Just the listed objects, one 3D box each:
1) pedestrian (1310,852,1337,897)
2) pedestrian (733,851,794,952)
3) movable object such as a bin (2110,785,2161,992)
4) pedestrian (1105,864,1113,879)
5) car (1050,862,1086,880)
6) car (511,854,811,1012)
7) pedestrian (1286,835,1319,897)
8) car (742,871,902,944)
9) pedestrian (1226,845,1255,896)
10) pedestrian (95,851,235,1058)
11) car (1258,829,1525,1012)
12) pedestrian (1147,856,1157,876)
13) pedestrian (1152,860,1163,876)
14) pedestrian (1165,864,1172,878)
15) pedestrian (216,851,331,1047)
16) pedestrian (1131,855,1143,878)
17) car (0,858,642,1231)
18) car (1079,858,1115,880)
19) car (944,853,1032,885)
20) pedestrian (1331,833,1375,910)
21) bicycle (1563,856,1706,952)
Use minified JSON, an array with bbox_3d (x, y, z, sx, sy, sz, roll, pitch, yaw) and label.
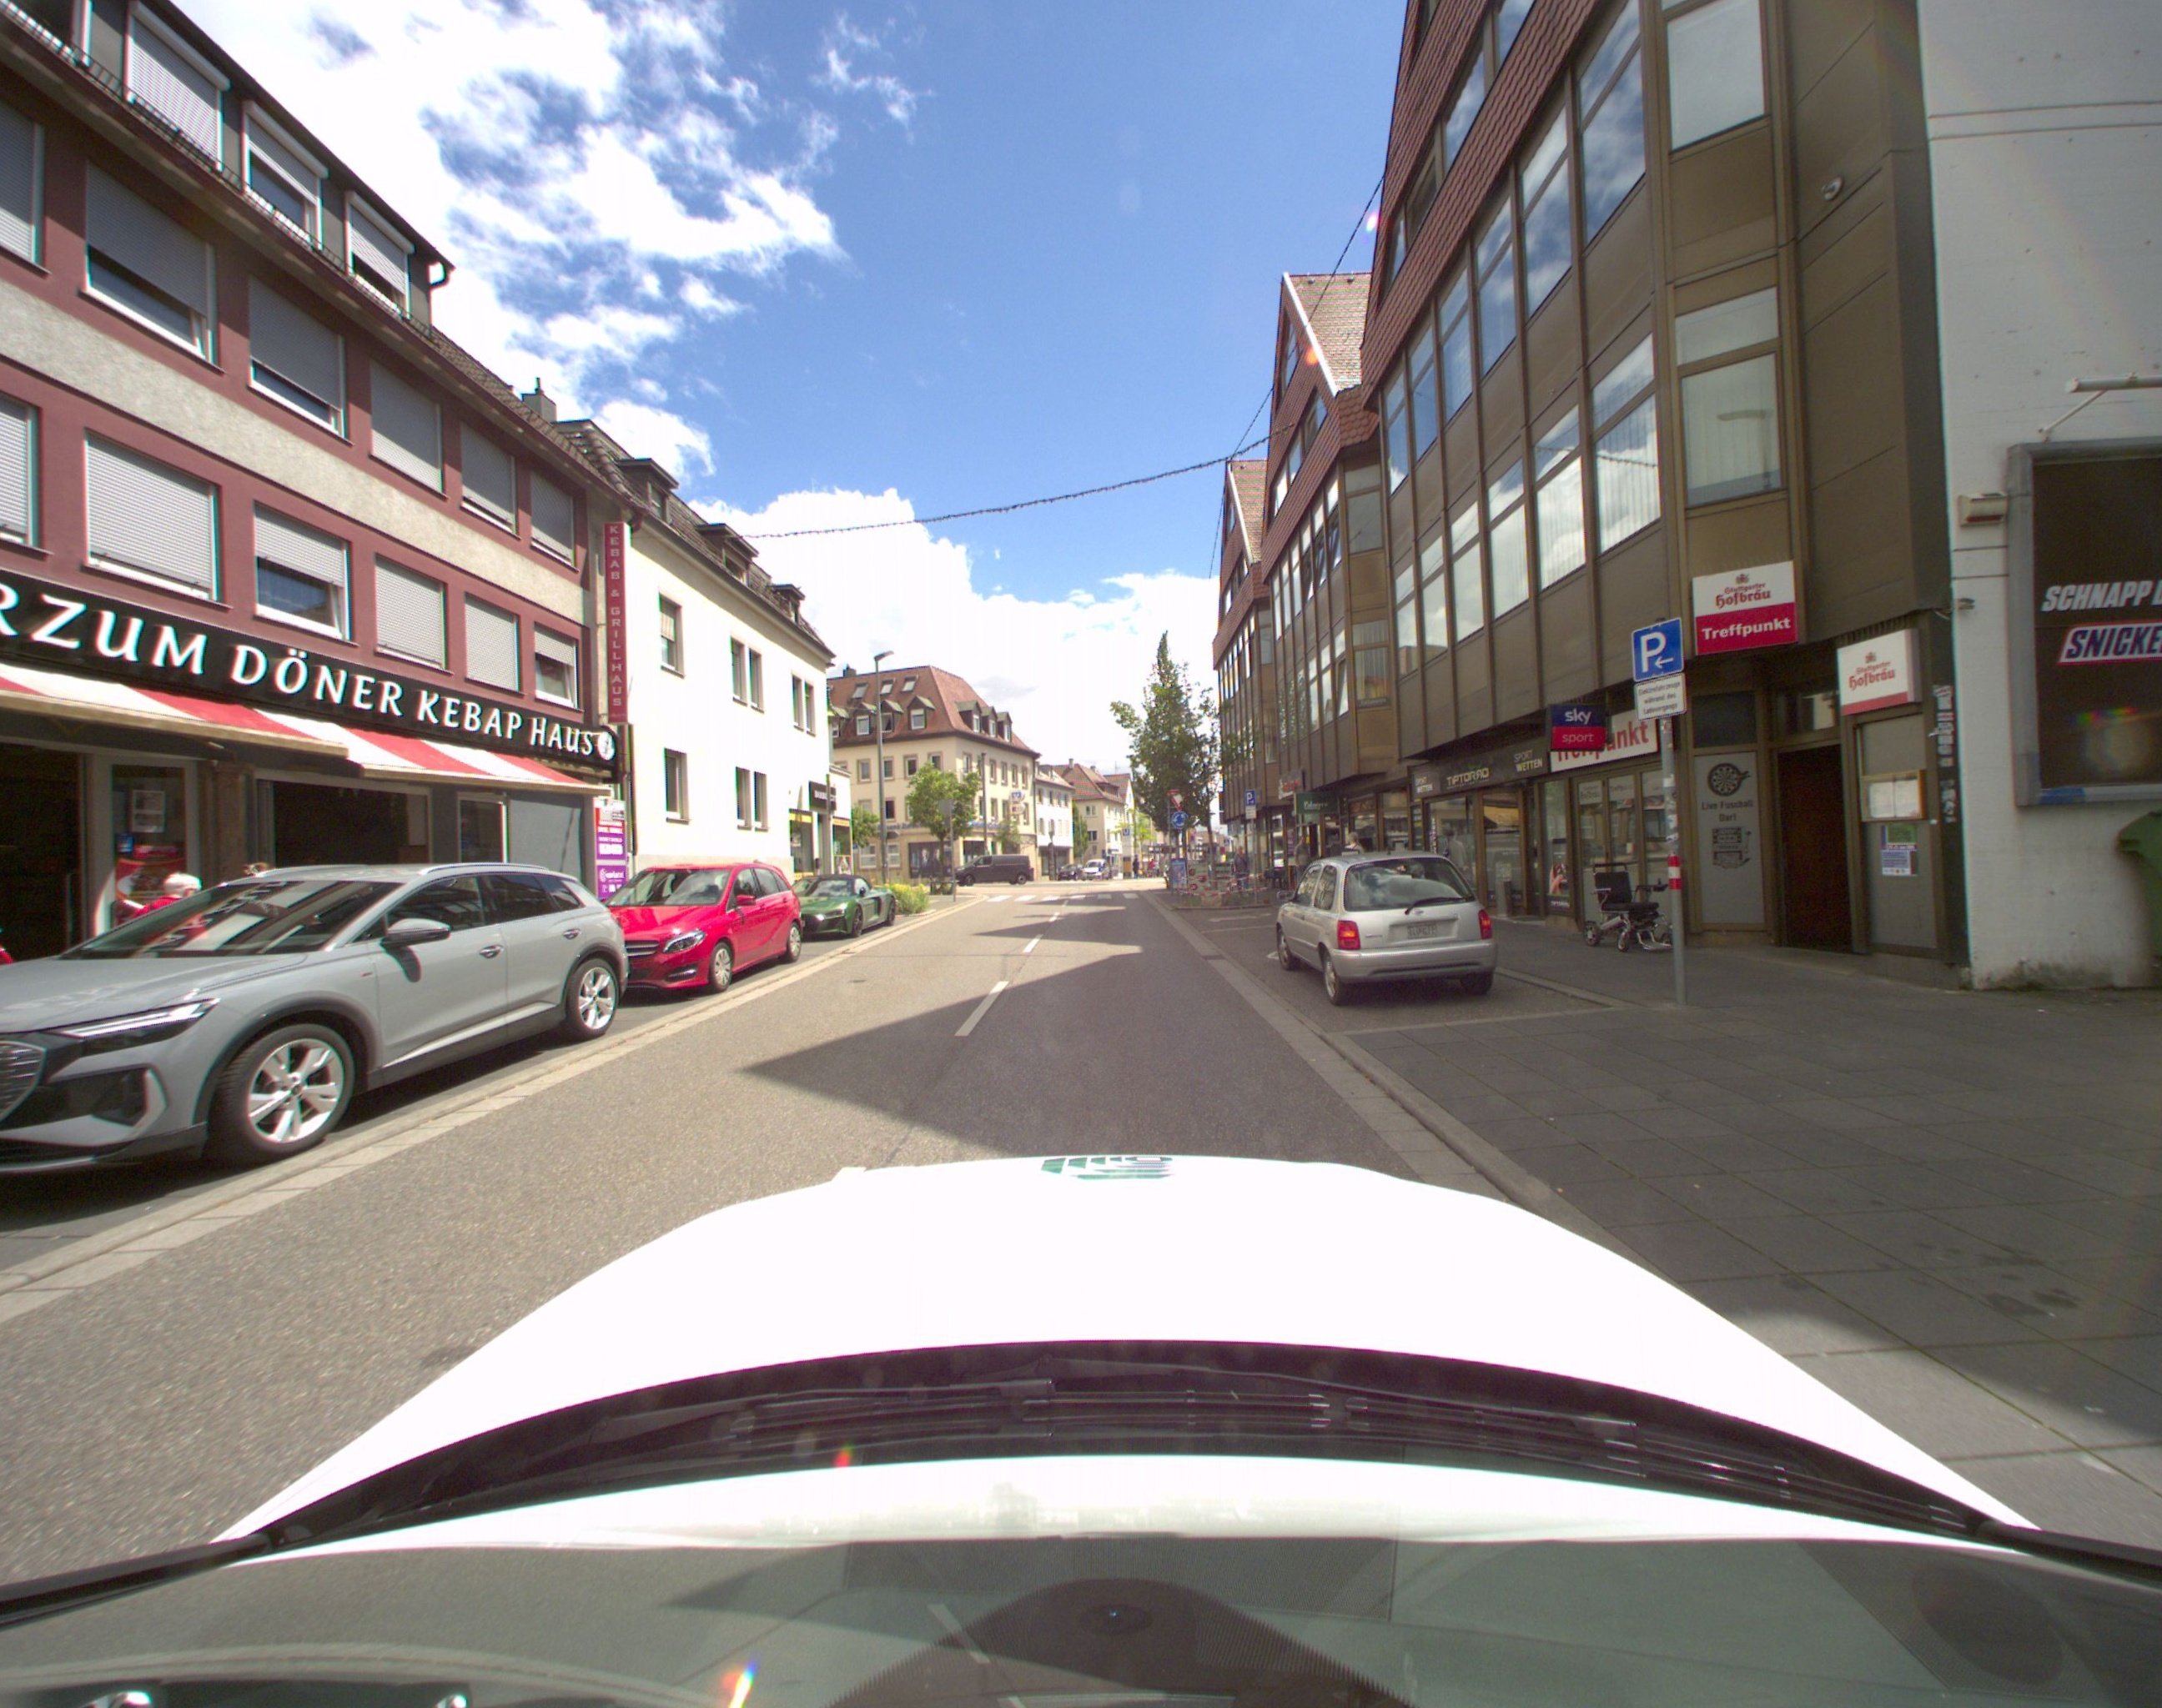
[{"bbox_3d":[6.972,0.585,23.450,0.618,1.253,0.614,-1,-1,4],"label":"pedestrian"},{"bbox_3d":[-5.320,0.783,13.681,0.683,1.648,0.780,-1,-1,3],"label":"pedestrian"},{"bbox_3d":[8.531,0.247,5.763,1.137,1.528,1.033,-1,-1,4],"label":"movable object such as a bin"},{"bbox_3d":[3.122,1.954,90.182,0.694,1.610,0.641,0,-1,-14],"label":"pedestrian"},{"bbox_3d":[-1.074,1.408,68.547,1.979,1.453,4.015,-1,-1,15],"label":"car"},{"bbox_3d":[-5.165,0.843,10.780,1.794,1.604,4.216,-2,0,-1],"label":"car"},{"bbox_3d":[6.634,0.370,24.437,0.734,1.814,0.712,-2,-1,1],"label":"pedestrian"},{"bbox_3d":[-5.232,1.029,17.145,1.812,1.224,4.525,0,0,1],"label":"car"},{"bbox_3d":[5.140,0.527,26.288,0.781,1.615,0.800,-1,-1,1],"label":"pedestrian"},{"bbox_3d":[-7.634,0.808,6.810,0.500,1.648,0.574,-1,-1,0],"label":"pedestrian"},{"bbox_3d":[3.187,0.591,9.179,1.603,1.495,3.797,-5,0,3],"label":"car"},{"bbox_3d":[6.487,1.090,74.335,0.722,1.764,0.751,-1,-1,12],"label":"pedestrian"},{"bbox_3d":[7.586,1.402,80.764,0.720,1.579,0.753,-2,-1,42],"label":"pedestrian"},{"bbox_3d":[8.017,1.573,74.813,0.588,1.316,0.592,-1,-1,7],"label":"pedestrian"},{"bbox_3d":[-7.047,0.807,7.125,0.512,1.648,0.472,-1,-1,0],"label":"pedestrian"},{"bbox_3d":[4.217,0.926,61.178,0.865,1.708,0.531,-1,-1,4],"label":"pedestrian"},{"bbox_3d":[-5.181,0.869,5.736,1.794,1.604,4.349,-2,0,-1],"label":"car"},{"bbox_3d":[1.346,1.209,64.732,1.979,1.689,4.015,-1,-1,14],"label":"car"},{"bbox_3d":[-5.667,0.885,49.793,5.001,1.848,2.033,0,-1,-21],"label":"car"},{"bbox_3d":[6.154,0.388,18.420,0.658,1.706,0.642,0,-1,-21],"label":"pedestrian"},{"bbox_3d":[6.555,0.561,9.736,0.717,1.047,1.477,-1,-1,2],"label":"bicycle"}]
